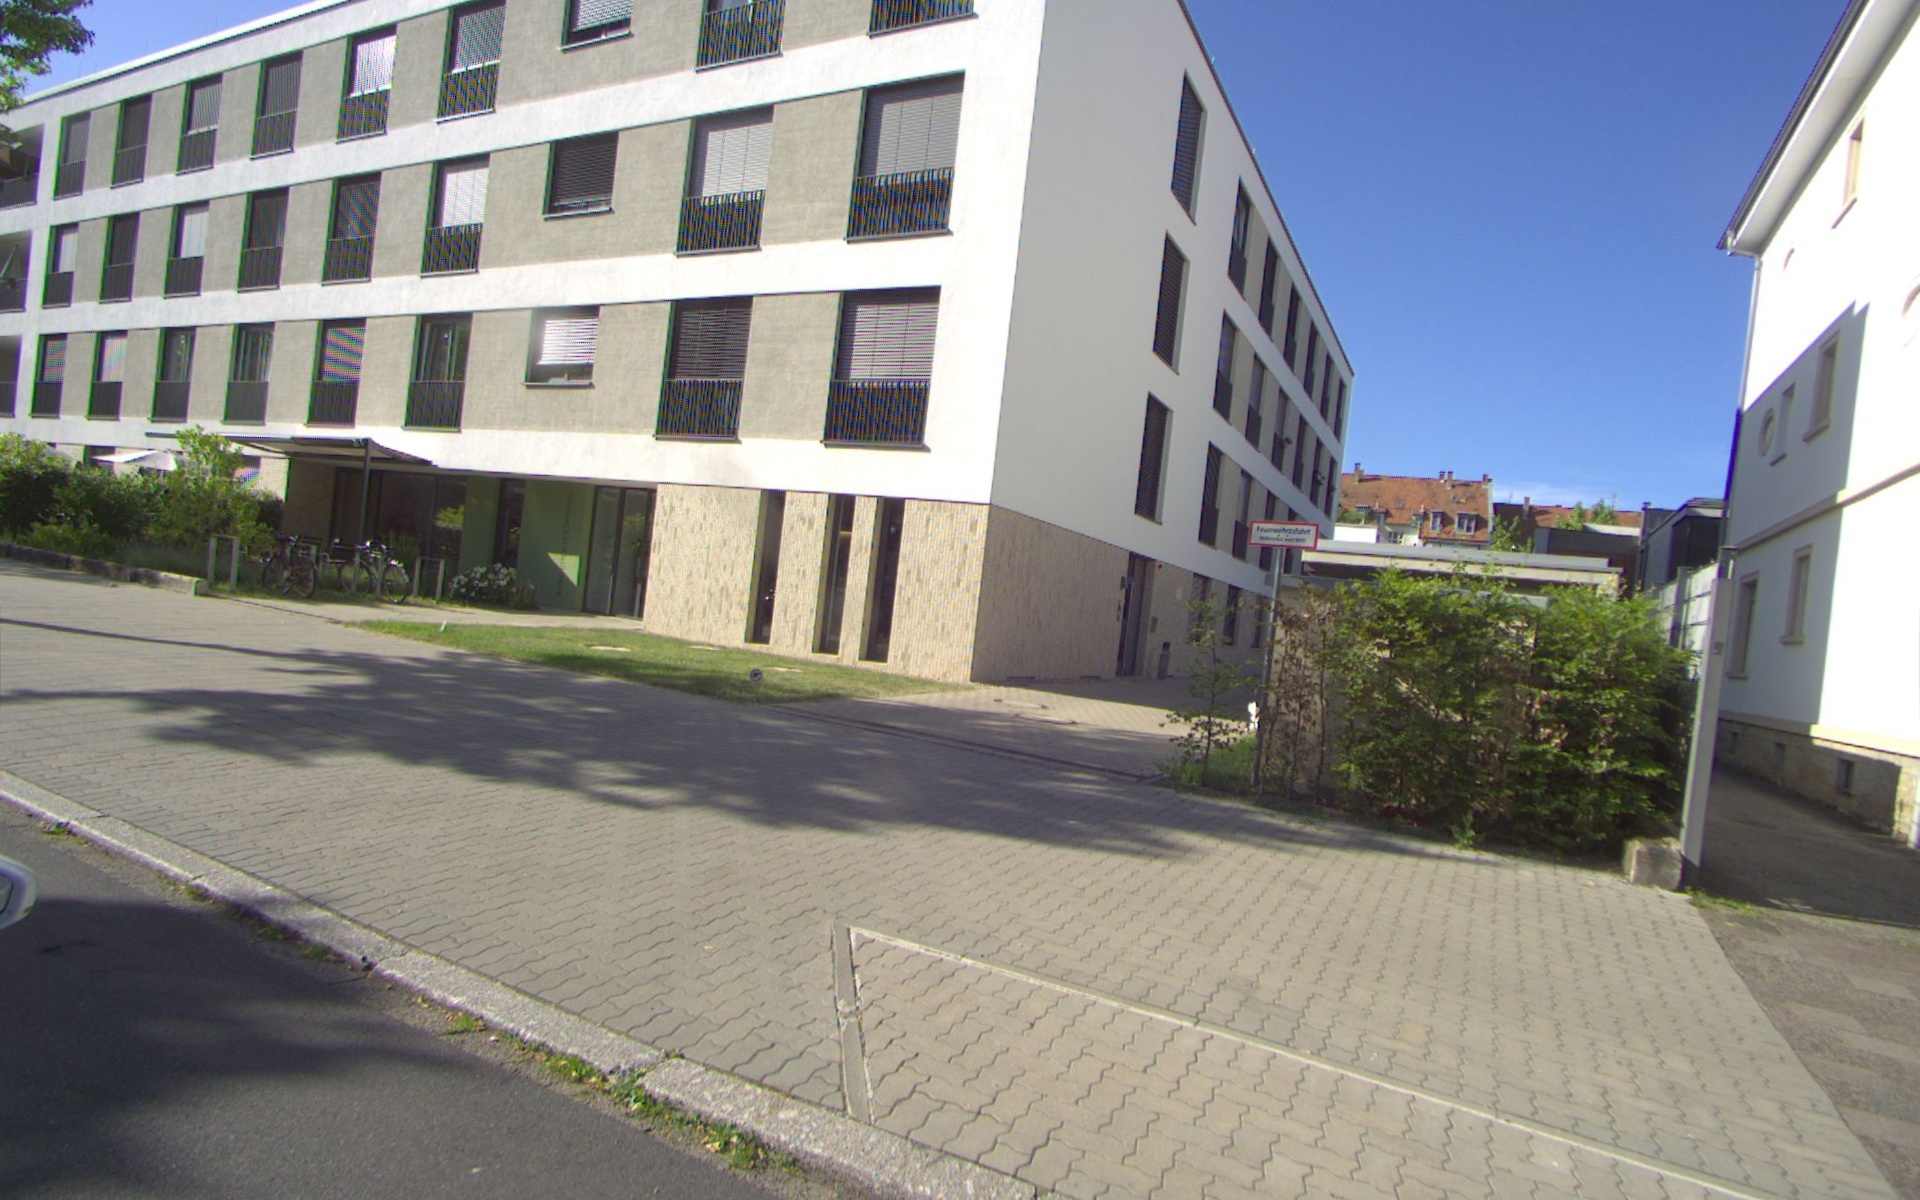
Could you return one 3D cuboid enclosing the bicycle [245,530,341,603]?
[{"bbox_3d":[-11.410,-0.579,17.197,1.661,1.069,0.547,7,2,26],"label":"bicycle"}]

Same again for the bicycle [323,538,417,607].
[{"bbox_3d":[-10.804,-0.506,18.420,1.748,1.069,0.547,7,2,26],"label":"bicycle"}]
